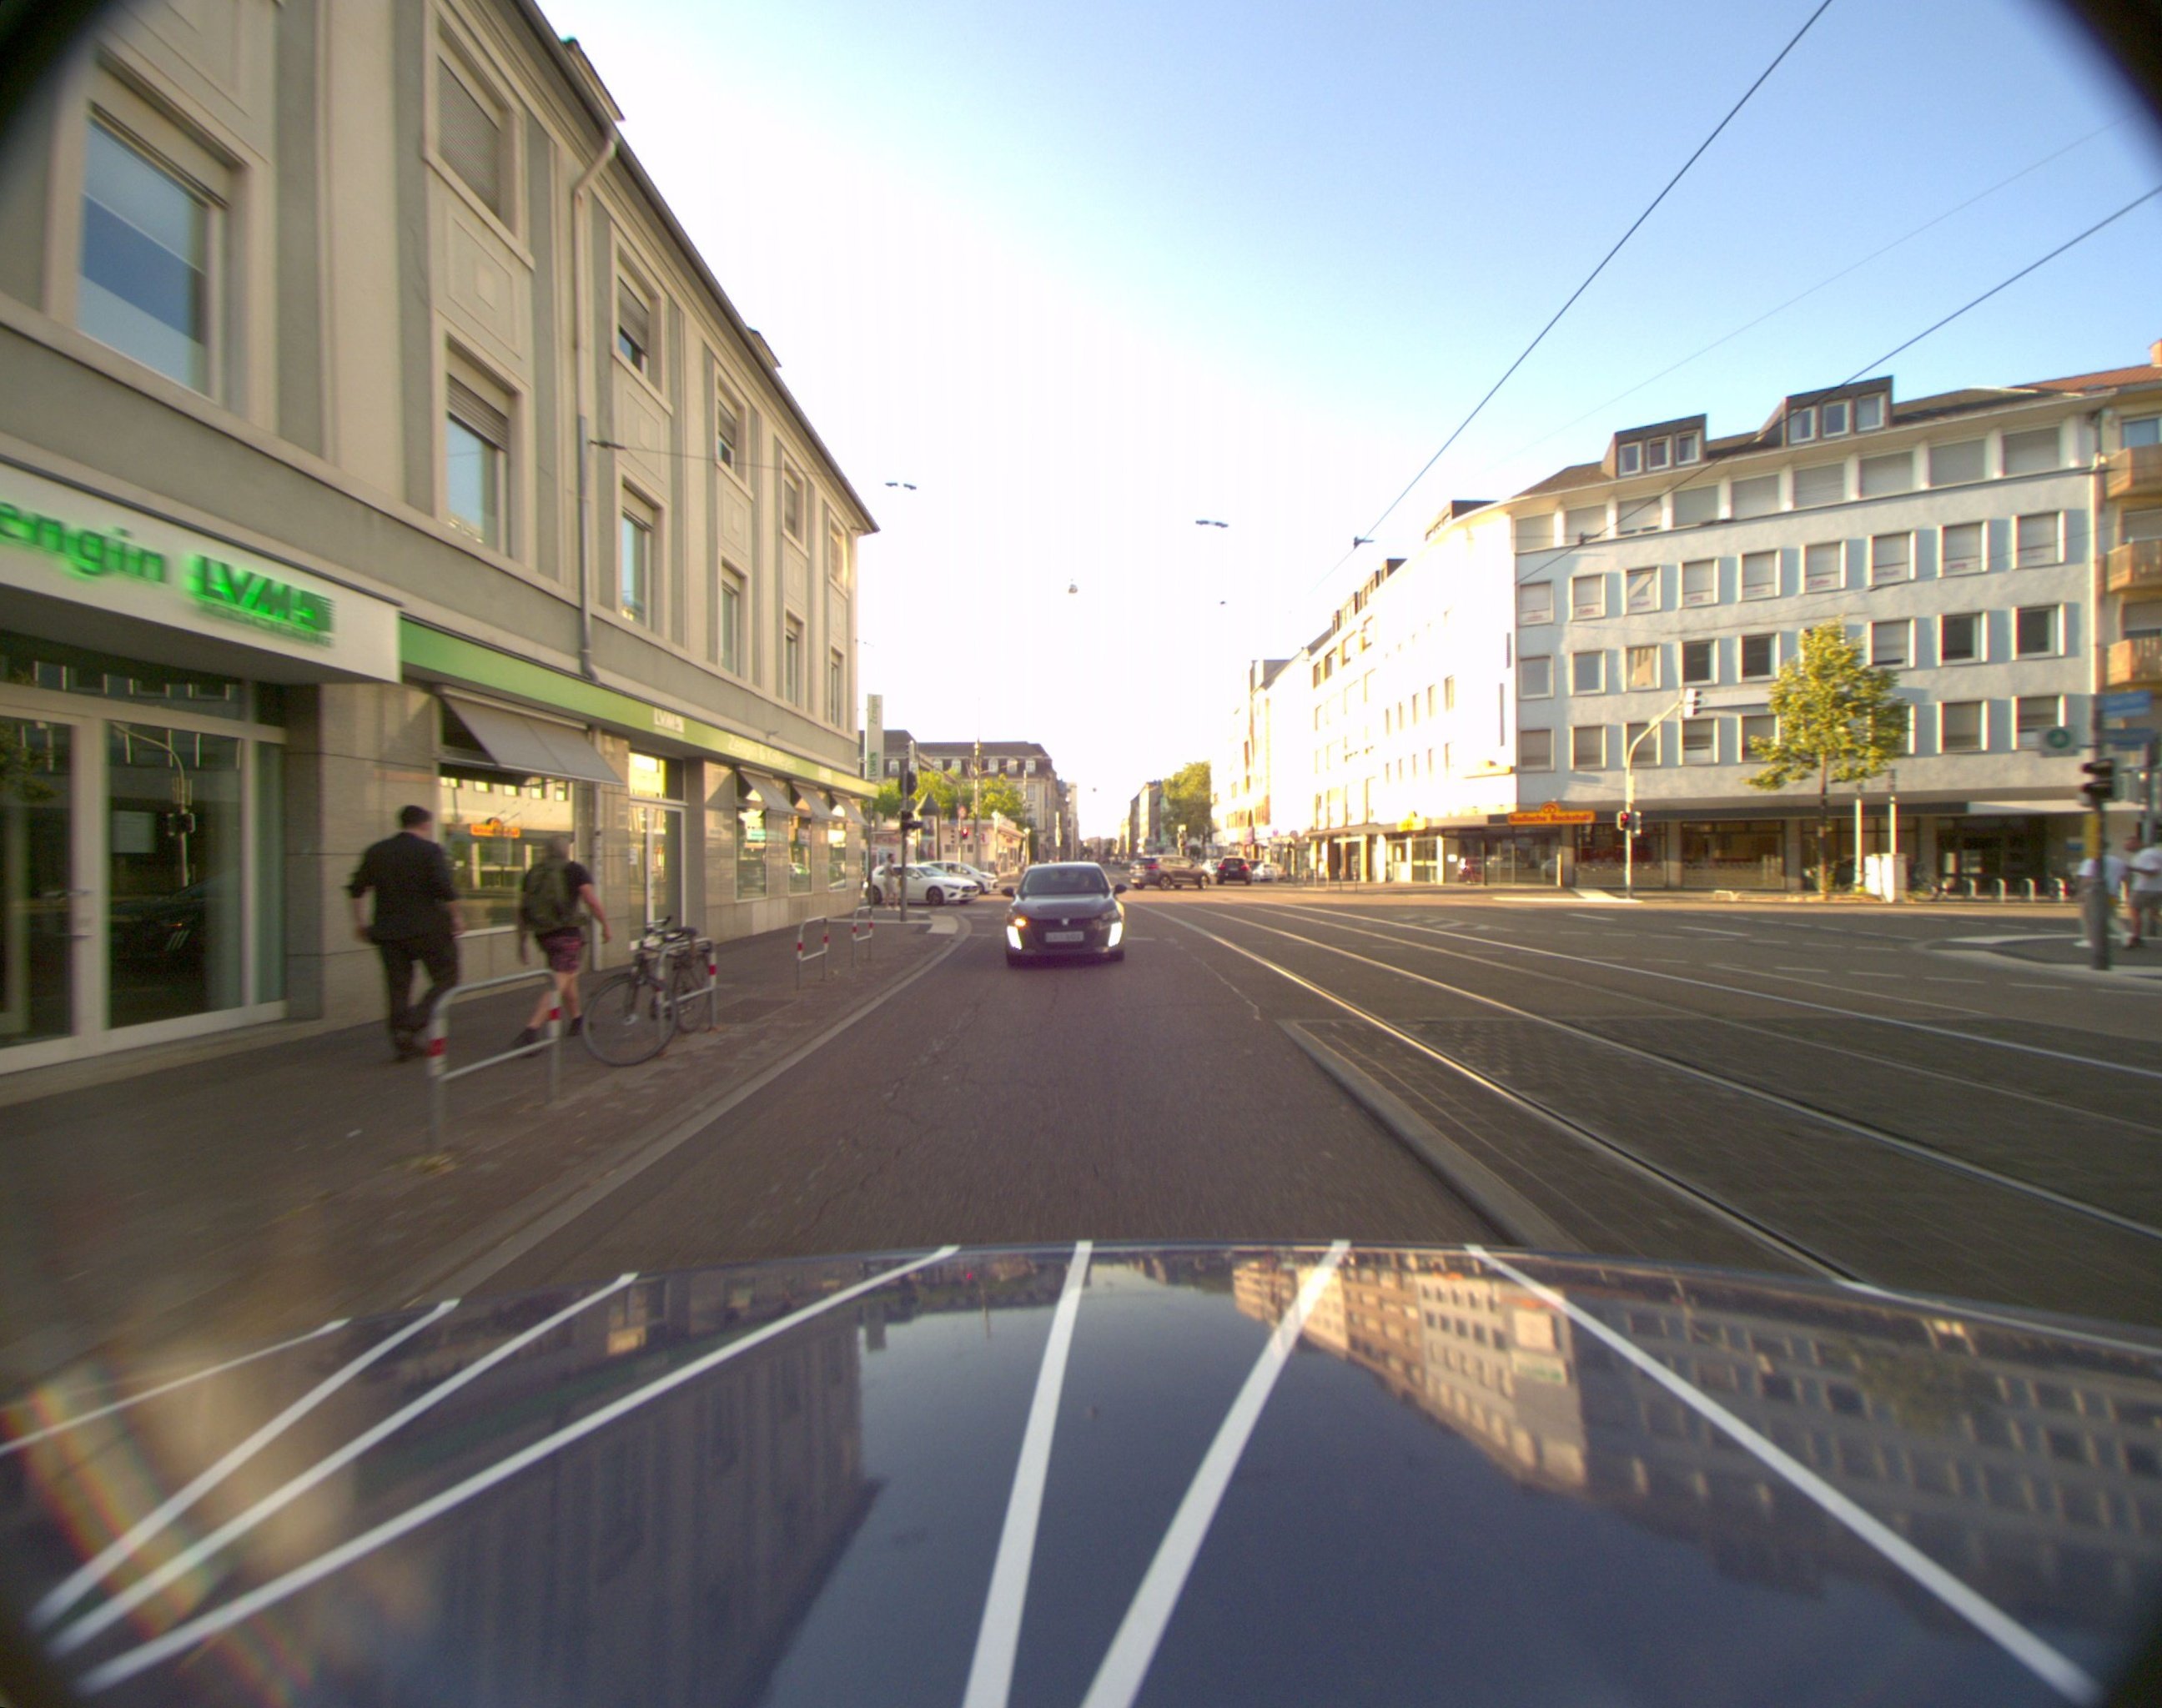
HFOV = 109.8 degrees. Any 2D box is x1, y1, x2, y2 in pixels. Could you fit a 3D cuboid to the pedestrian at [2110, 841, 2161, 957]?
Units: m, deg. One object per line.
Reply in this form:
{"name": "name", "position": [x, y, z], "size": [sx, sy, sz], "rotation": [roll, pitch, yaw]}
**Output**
{"name": "pedestrian", "position": [16.685, 0.677, 11.784], "size": [0.637, 1.768, 0.601], "rotation": [-1, 0, 20]}

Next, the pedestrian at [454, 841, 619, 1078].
{"name": "pedestrian", "position": [-4.437, 0.813, 6.255], "size": [0.739, 1.818, 0.850], "rotation": [1, 0, -1]}

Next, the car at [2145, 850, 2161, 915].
{"name": "car", "position": [27.343, 0.665, 16.744], "size": [4.002, 1.547, 2.119], "rotation": [0, -1, 26]}

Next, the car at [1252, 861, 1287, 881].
{"name": "car", "position": [13.168, 1.167, 53.324], "size": [1.636, 1.246, 3.389], "rotation": [-3, -1, 1]}

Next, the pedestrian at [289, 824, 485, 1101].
{"name": "pedestrian", "position": [-5.157, 0.752, 5.705], "size": [0.663, 1.916, 0.879], "rotation": [1, 0, -1]}

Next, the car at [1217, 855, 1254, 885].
{"name": "car", "position": [9.325, 0.904, 45.628], "size": [1.802, 1.688, 4.575], "rotation": [0, 0, 17]}

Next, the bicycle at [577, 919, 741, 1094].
{"name": "bicycle", "position": [-3.378, 1.164, 6.229], "size": [0.535, 1.140, 1.490], "rotation": [0, 0, -1]}

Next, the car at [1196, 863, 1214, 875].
{"name": "car", "position": [13.606, 1.623, 83.603], "size": [1.459, 1.284, 3.147], "rotation": [-3, -1, 1]}

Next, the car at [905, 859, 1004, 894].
{"name": "car", "position": [-5.551, 0.992, 33.659], "size": [3.980, 1.463, 1.720], "rotation": [0, 0, 7]}

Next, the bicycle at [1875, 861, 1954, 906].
{"name": "bicycle", "position": [26.260, 0.898, 23.994], "size": [0.638, 1.246, 2.377], "rotation": [0, 2, 20]}

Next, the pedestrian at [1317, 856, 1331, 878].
{"name": "pedestrian", "position": [16.651, 0.922, 52.064], "size": [0.544, 1.463, 0.624], "rotation": [-4, 0, -15]}

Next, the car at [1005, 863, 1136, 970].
{"name": "car", "position": [-0.015, 0.914, 12.759], "size": [1.750, 1.434, 3.907], "rotation": [-1, 1, 5]}

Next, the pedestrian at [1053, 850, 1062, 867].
{"name": "pedestrian", "position": [-2.758, 0.560, 90.693], "size": [0.716, 2.003, 0.839], "rotation": [-3, 4, -29]}

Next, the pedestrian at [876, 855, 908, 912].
{"name": "pedestrian", "position": [-5.808, 0.901, 23.385], "size": [0.692, 1.732, 0.655], "rotation": [0, 0, 41]}

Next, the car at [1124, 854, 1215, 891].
{"name": "car", "position": [4.306, 0.843, 36.659], "size": [4.267, 1.688, 1.824], "rotation": [0, 0, -36]}

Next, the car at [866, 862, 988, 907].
{"name": "car", "position": [-5.517, 1.041, 27.227], "size": [3.974, 1.463, 1.832], "rotation": [0, 1, 26]}

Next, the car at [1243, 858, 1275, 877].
{"name": "car", "position": [13.524, 1.028, 57.884], "size": [1.636, 1.345, 3.389], "rotation": [-3, -1, 1]}

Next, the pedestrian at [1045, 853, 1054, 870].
{"name": "pedestrian", "position": [-3.866, 0.874, 93.568], "size": [0.716, 2.003, 0.839], "rotation": [-3, 4, -31]}

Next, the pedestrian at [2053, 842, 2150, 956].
{"name": "pedestrian", "position": [16.049, 0.692, 11.968], "size": [0.637, 1.734, 0.669], "rotation": [-1, 0, 17]}
